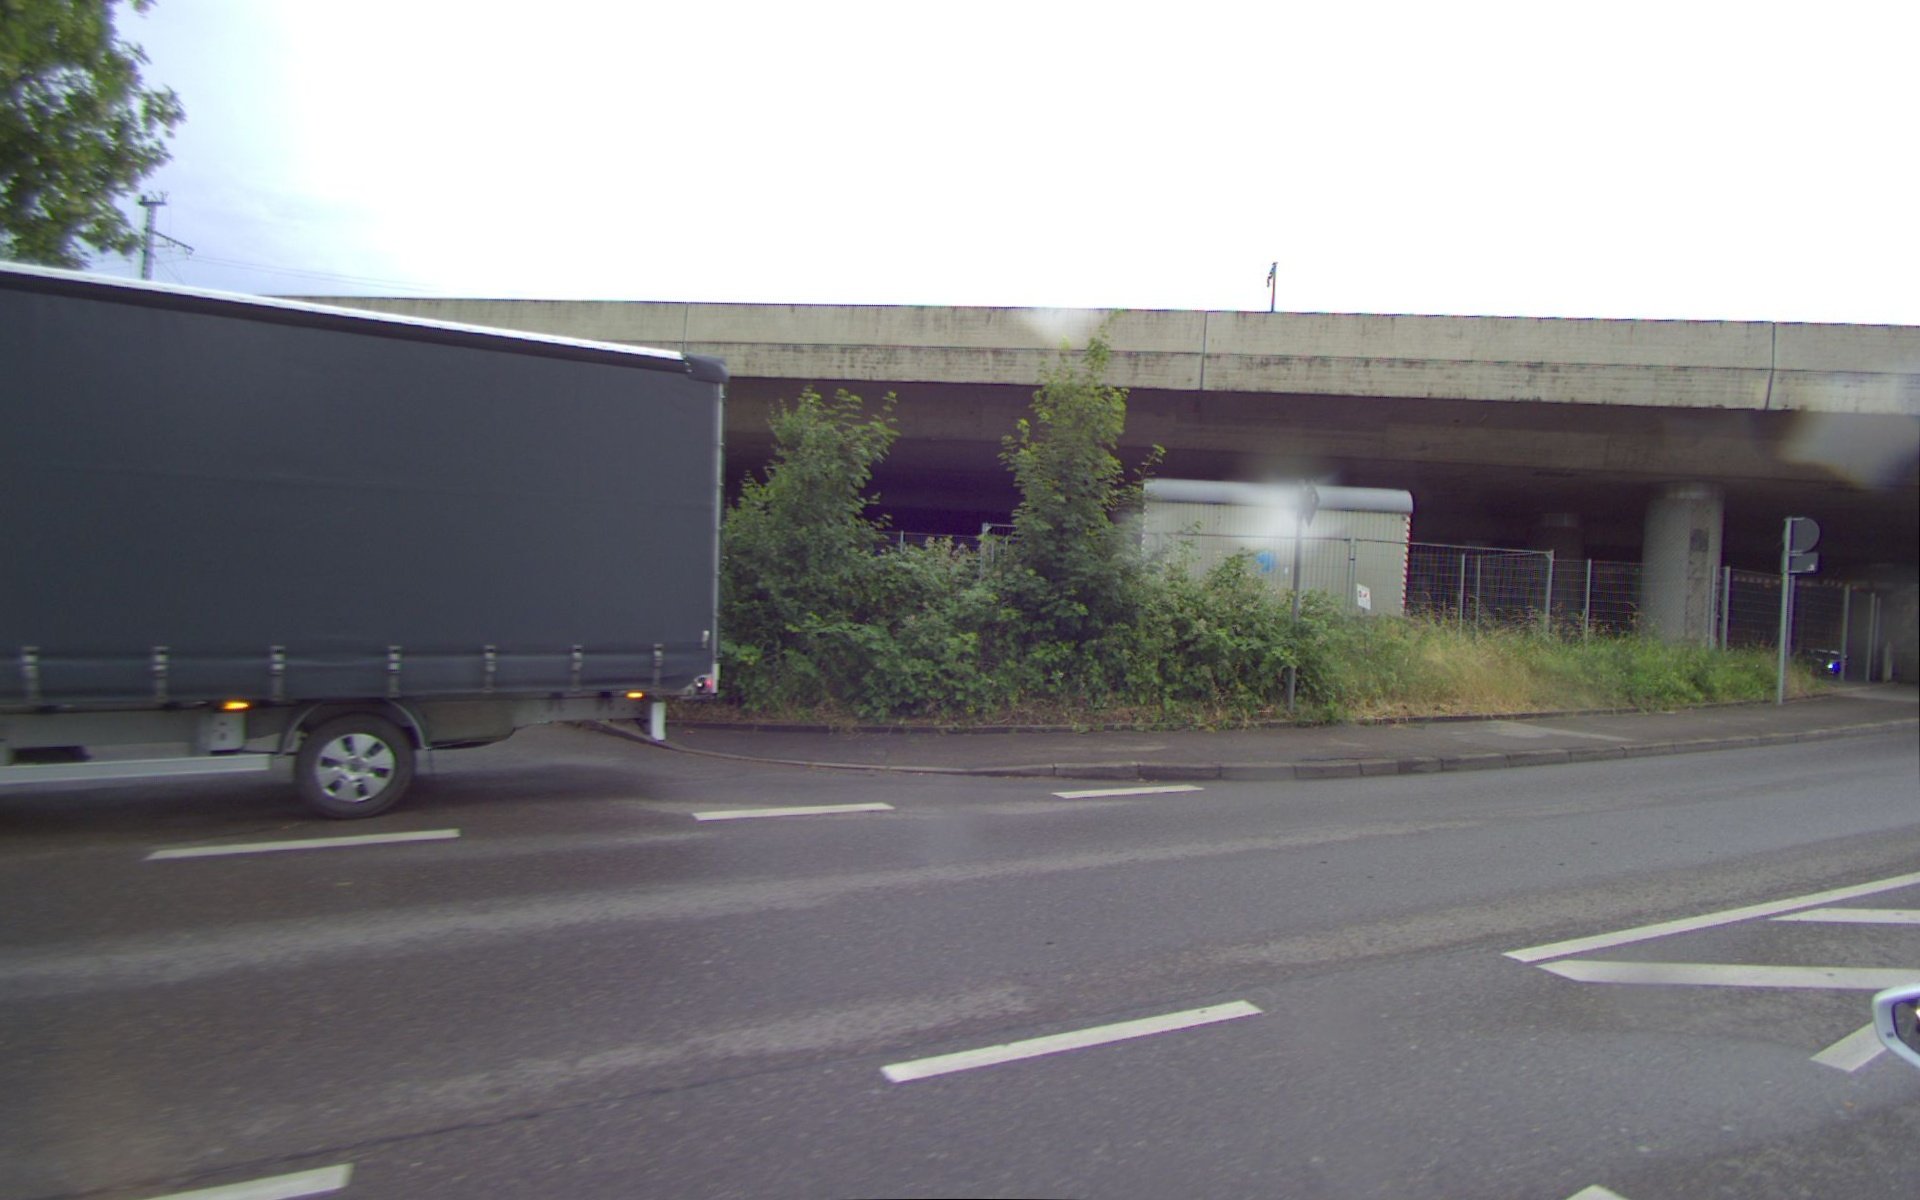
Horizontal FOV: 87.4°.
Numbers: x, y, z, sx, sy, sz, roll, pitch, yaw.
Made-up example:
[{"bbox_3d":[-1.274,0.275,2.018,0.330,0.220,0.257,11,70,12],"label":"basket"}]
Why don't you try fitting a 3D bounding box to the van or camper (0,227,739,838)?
[{"bbox_3d":[-5.689,-0.381,6.888,7.667,3.379,2.686,2,0,-29],"label":"van or camper"}]
